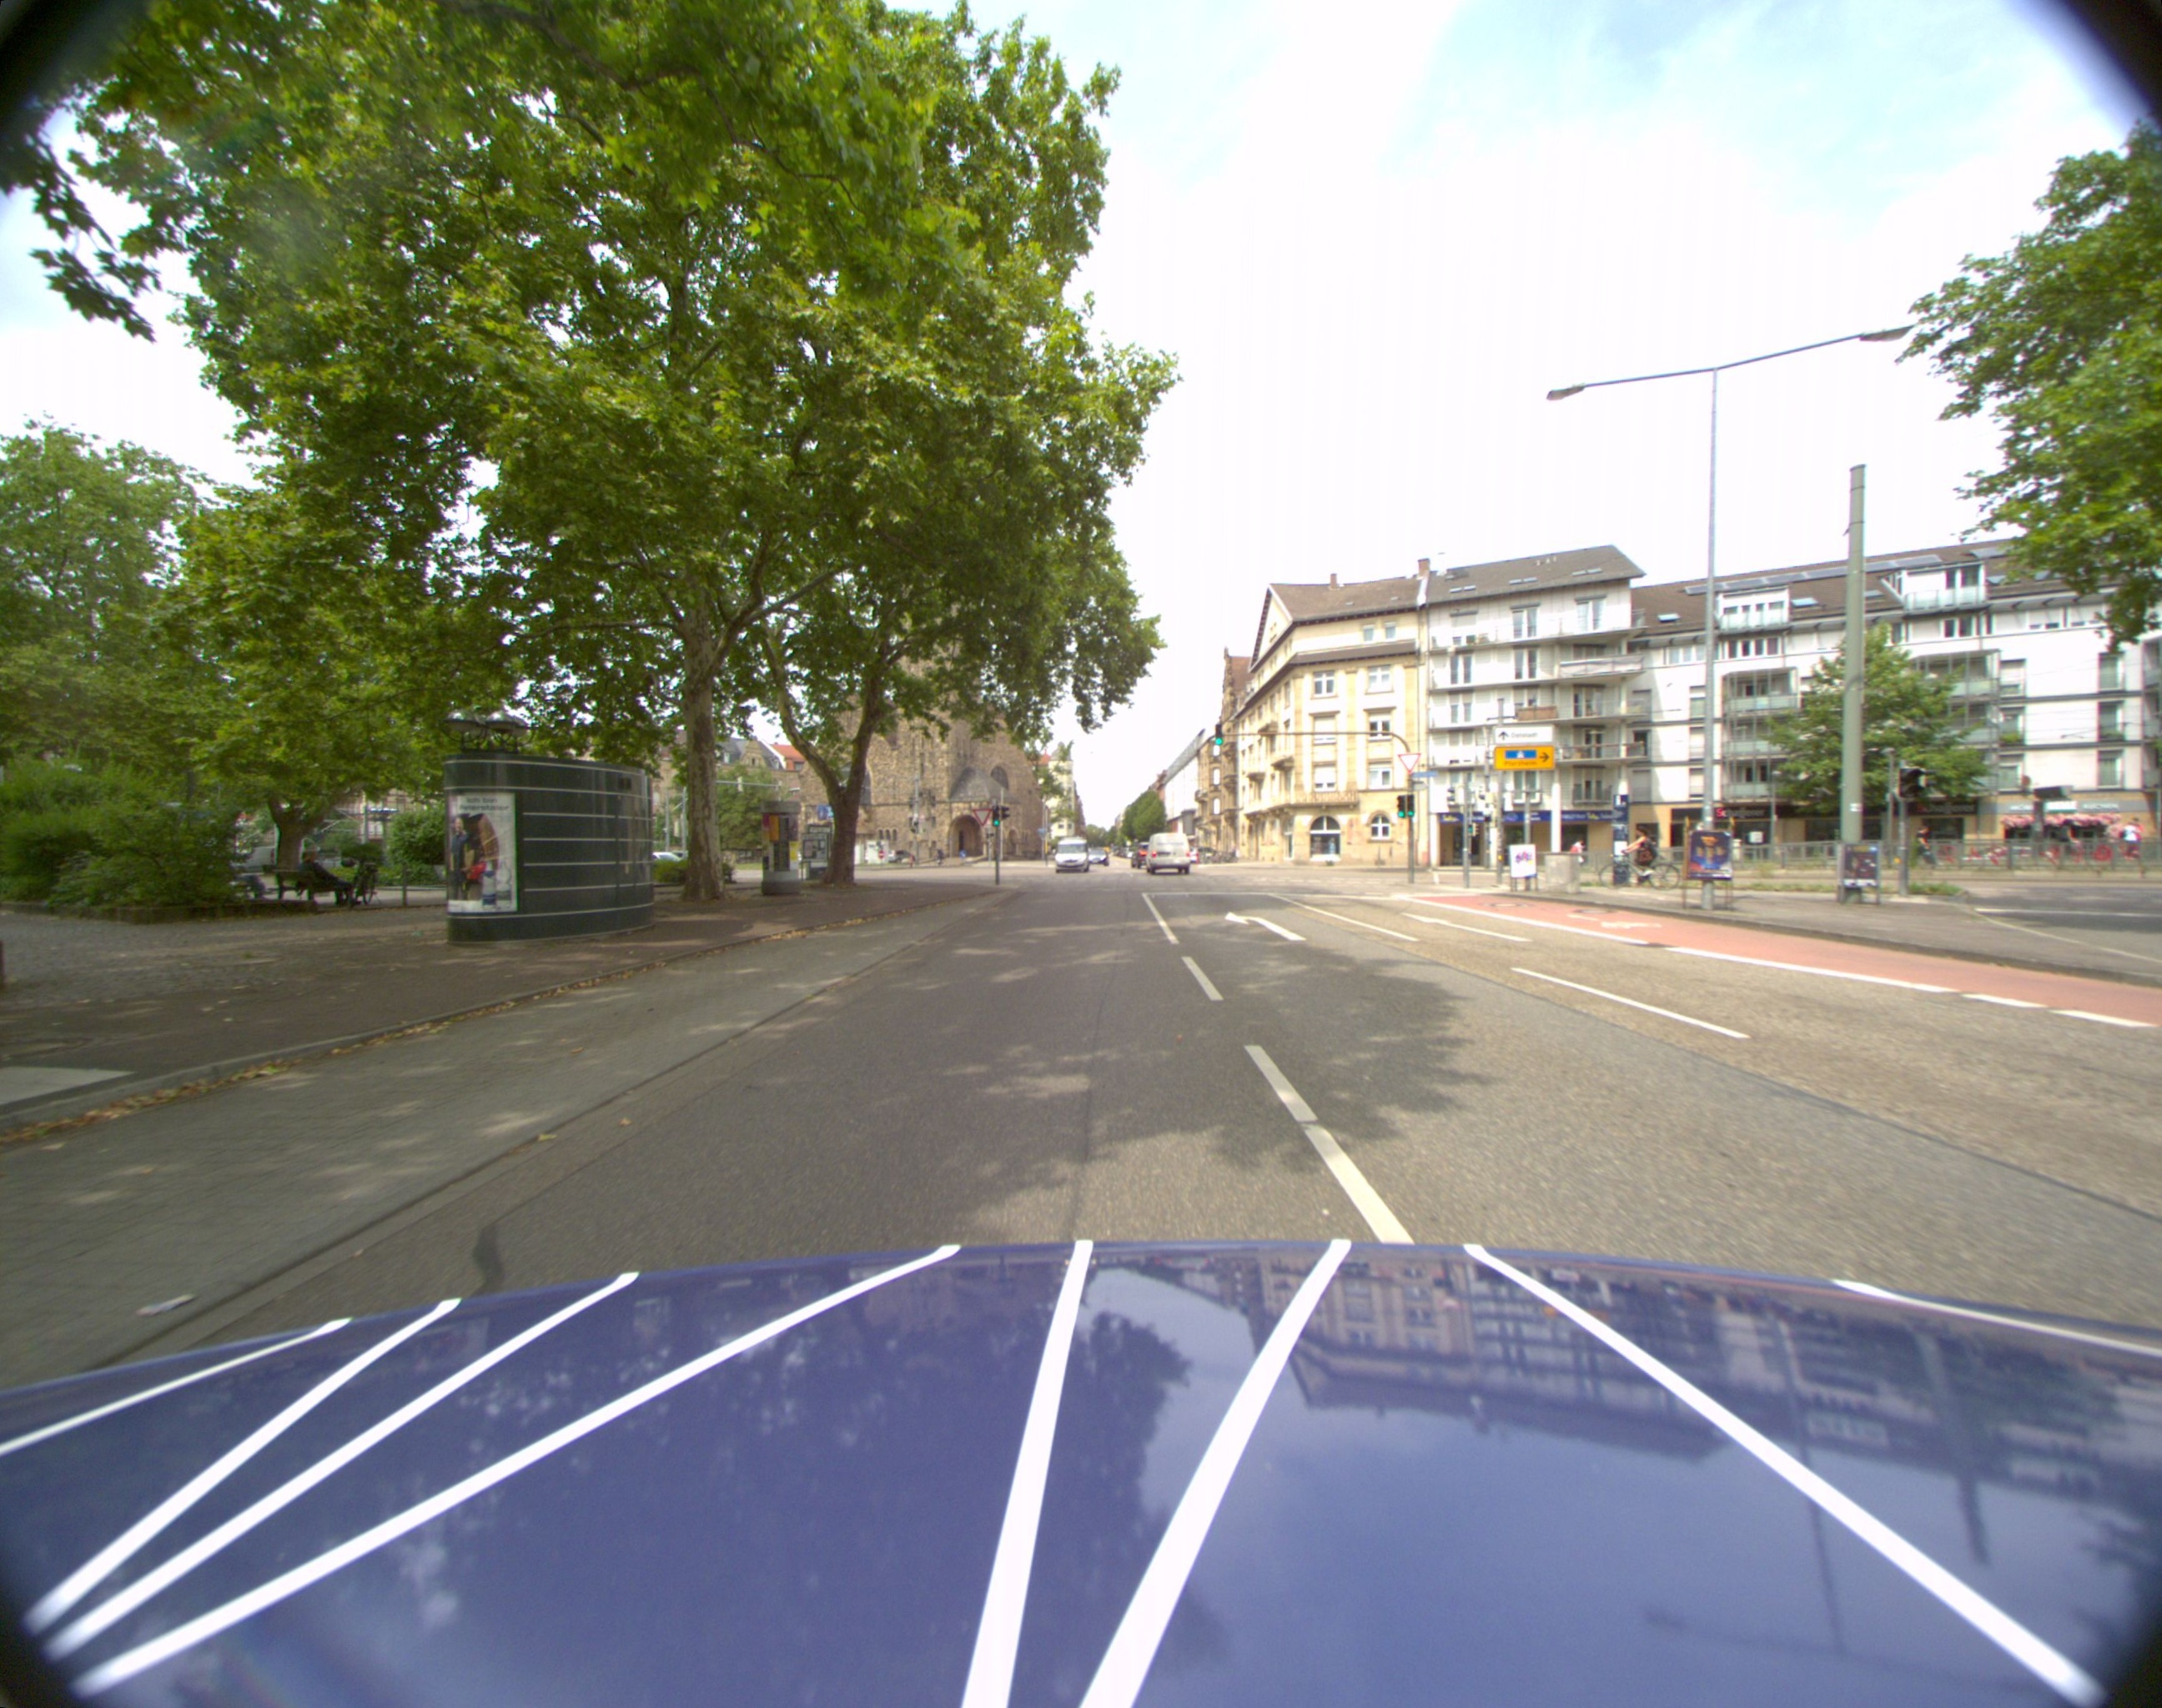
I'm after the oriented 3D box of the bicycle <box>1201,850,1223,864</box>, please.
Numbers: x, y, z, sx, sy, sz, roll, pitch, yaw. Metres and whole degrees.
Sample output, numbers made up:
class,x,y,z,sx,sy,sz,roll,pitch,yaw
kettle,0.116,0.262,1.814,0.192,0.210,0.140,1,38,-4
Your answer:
class,x,y,z,sx,sy,sz,roll,pitch,yaw
bicycle,12.003,0.310,69.612,1.821,1.185,0.397,-4,0,-2

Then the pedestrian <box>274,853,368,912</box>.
class,x,y,z,sx,sy,sz,roll,pitch,yaw
pedestrian,-16.739,0.601,16.761,1.096,1.206,1.142,0,1,26

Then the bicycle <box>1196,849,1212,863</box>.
class,x,y,z,sx,sy,sz,roll,pitch,yaw
bicycle,11.587,0.184,71.668,1.345,1.185,0.397,-3,0,0

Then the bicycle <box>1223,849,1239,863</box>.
class,x,y,z,sx,sy,sz,roll,pitch,yaw
bicycle,13.734,0.200,69.726,1.345,1.185,0.397,-3,1,-5

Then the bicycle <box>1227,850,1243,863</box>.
class,x,y,z,sx,sy,sz,roll,pitch,yaw
bicycle,14.364,0.248,70.797,1.345,1.185,0.397,0,0,0

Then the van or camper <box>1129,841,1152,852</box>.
class,x,y,z,sx,sy,sz,roll,pitch,yaw
van or camper,10.562,-1.299,135.199,3.997,2.002,1.999,0,1,-2

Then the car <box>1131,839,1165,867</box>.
class,x,y,z,sx,sy,sz,roll,pitch,yaw
car,4.212,-0.064,48.202,1.827,1.638,4.427,-1,0,1

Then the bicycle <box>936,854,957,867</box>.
class,x,y,z,sx,sy,sz,roll,pitch,yaw
bicycle,-12.515,0.605,70.631,1.812,1.079,0.598,-2,1,-10

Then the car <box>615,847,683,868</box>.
class,x,y,z,sx,sy,sz,roll,pitch,yaw
car,-29.105,0.245,51.221,4.277,1.375,1.842,0,0,25

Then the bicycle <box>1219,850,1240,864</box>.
class,x,y,z,sx,sy,sz,roll,pitch,yaw
bicycle,13.510,0.235,69.116,1.830,1.185,0.397,-2,0,1

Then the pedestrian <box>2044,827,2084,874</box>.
class,x,y,z,sx,sy,sz,roll,pitch,yaw
pedestrian,42.042,-0.148,32.509,0.756,2.002,0.762,0,1,26

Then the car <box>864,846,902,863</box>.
class,x,y,z,sx,sy,sz,roll,pitch,yaw
car,-22.046,0.089,84.841,1.995,1.871,3.961,0,0,26

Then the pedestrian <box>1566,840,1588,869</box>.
class,x,y,z,sx,sy,sz,roll,pitch,yaw
pedestrian,26.615,0.007,40.755,0.837,1.543,0.869,0,2,25

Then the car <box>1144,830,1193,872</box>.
class,x,y,z,sx,sy,sz,roll,pitch,yaw
car,4.293,-0.170,38.003,1.928,1.925,4.947,-1,0,1

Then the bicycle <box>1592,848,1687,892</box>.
class,x,y,z,sx,sy,sz,roll,pitch,yaw
bicycle,15.120,0.415,20.630,1.965,1.088,0.628,2,1,25

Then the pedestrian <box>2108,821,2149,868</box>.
class,x,y,z,sx,sy,sz,roll,pitch,yaw
pedestrian,44.570,-0.396,32.336,0.756,2.002,0.762,0,1,26

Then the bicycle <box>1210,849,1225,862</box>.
class,x,y,z,sx,sy,sz,roll,pitch,yaw
bicycle,12.849,0.165,71.329,1.345,1.185,0.397,0,0,0

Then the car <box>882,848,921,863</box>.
class,x,y,z,sx,sy,sz,roll,pitch,yaw
car,-19.628,0.151,83.132,1.995,1.641,4.007,0,0,26

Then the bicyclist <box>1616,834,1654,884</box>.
class,x,y,z,sx,sy,sz,roll,pitch,yaw
bicyclist,15.043,0.127,20.640,0.751,1.334,0.493,0,0,25

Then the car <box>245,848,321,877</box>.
class,x,y,z,sx,sy,sz,roll,pitch,yaw
car,-52.645,0.538,50.131,4.371,1.866,2.003,0,0,22

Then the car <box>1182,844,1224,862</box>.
class,x,y,z,sx,sy,sz,roll,pitch,yaw
car,12.259,-0.099,75.950,4.043,1.580,1.755,-3,-1,-38

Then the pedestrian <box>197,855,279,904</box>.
class,x,y,z,sx,sy,sz,roll,pitch,yaw
pedestrian,-21.044,0.623,18.989,0.886,1.193,1.126,0,0,23

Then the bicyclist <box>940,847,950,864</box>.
class,x,y,z,sx,sy,sz,roll,pitch,yaw
bicyclist,-12.650,0.148,70.605,0.840,1.488,0.588,-2,1,-10

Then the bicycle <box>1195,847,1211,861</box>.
class,x,y,z,sx,sy,sz,roll,pitch,yaw
bicycle,11.406,-0.014,70.955,1.345,1.185,0.397,-3,1,-5

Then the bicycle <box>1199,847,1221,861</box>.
class,x,y,z,sx,sy,sz,roll,pitch,yaw
bicycle,11.610,0.025,68.542,1.872,1.185,0.456,-1,0,21

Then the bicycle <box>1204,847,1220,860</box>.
class,x,y,z,sx,sy,sz,roll,pitch,yaw
bicycle,12.124,-0.023,70.187,1.345,1.185,0.397,-2,0,-2

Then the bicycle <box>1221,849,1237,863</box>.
class,x,y,z,sx,sy,sz,roll,pitch,yaw
bicycle,13.686,0.198,70.320,1.345,1.185,0.397,-3,1,-5

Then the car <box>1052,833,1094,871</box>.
class,x,y,z,sx,sy,sz,roll,pitch,yaw
car,-0.382,-0.113,42.688,2.082,2.039,4.681,0,0,2

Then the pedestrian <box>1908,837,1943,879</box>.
class,x,y,z,sx,sy,sz,roll,pitch,yaw
pedestrian,31.476,0.154,28.328,0.597,1.543,0.671,0,2,22
